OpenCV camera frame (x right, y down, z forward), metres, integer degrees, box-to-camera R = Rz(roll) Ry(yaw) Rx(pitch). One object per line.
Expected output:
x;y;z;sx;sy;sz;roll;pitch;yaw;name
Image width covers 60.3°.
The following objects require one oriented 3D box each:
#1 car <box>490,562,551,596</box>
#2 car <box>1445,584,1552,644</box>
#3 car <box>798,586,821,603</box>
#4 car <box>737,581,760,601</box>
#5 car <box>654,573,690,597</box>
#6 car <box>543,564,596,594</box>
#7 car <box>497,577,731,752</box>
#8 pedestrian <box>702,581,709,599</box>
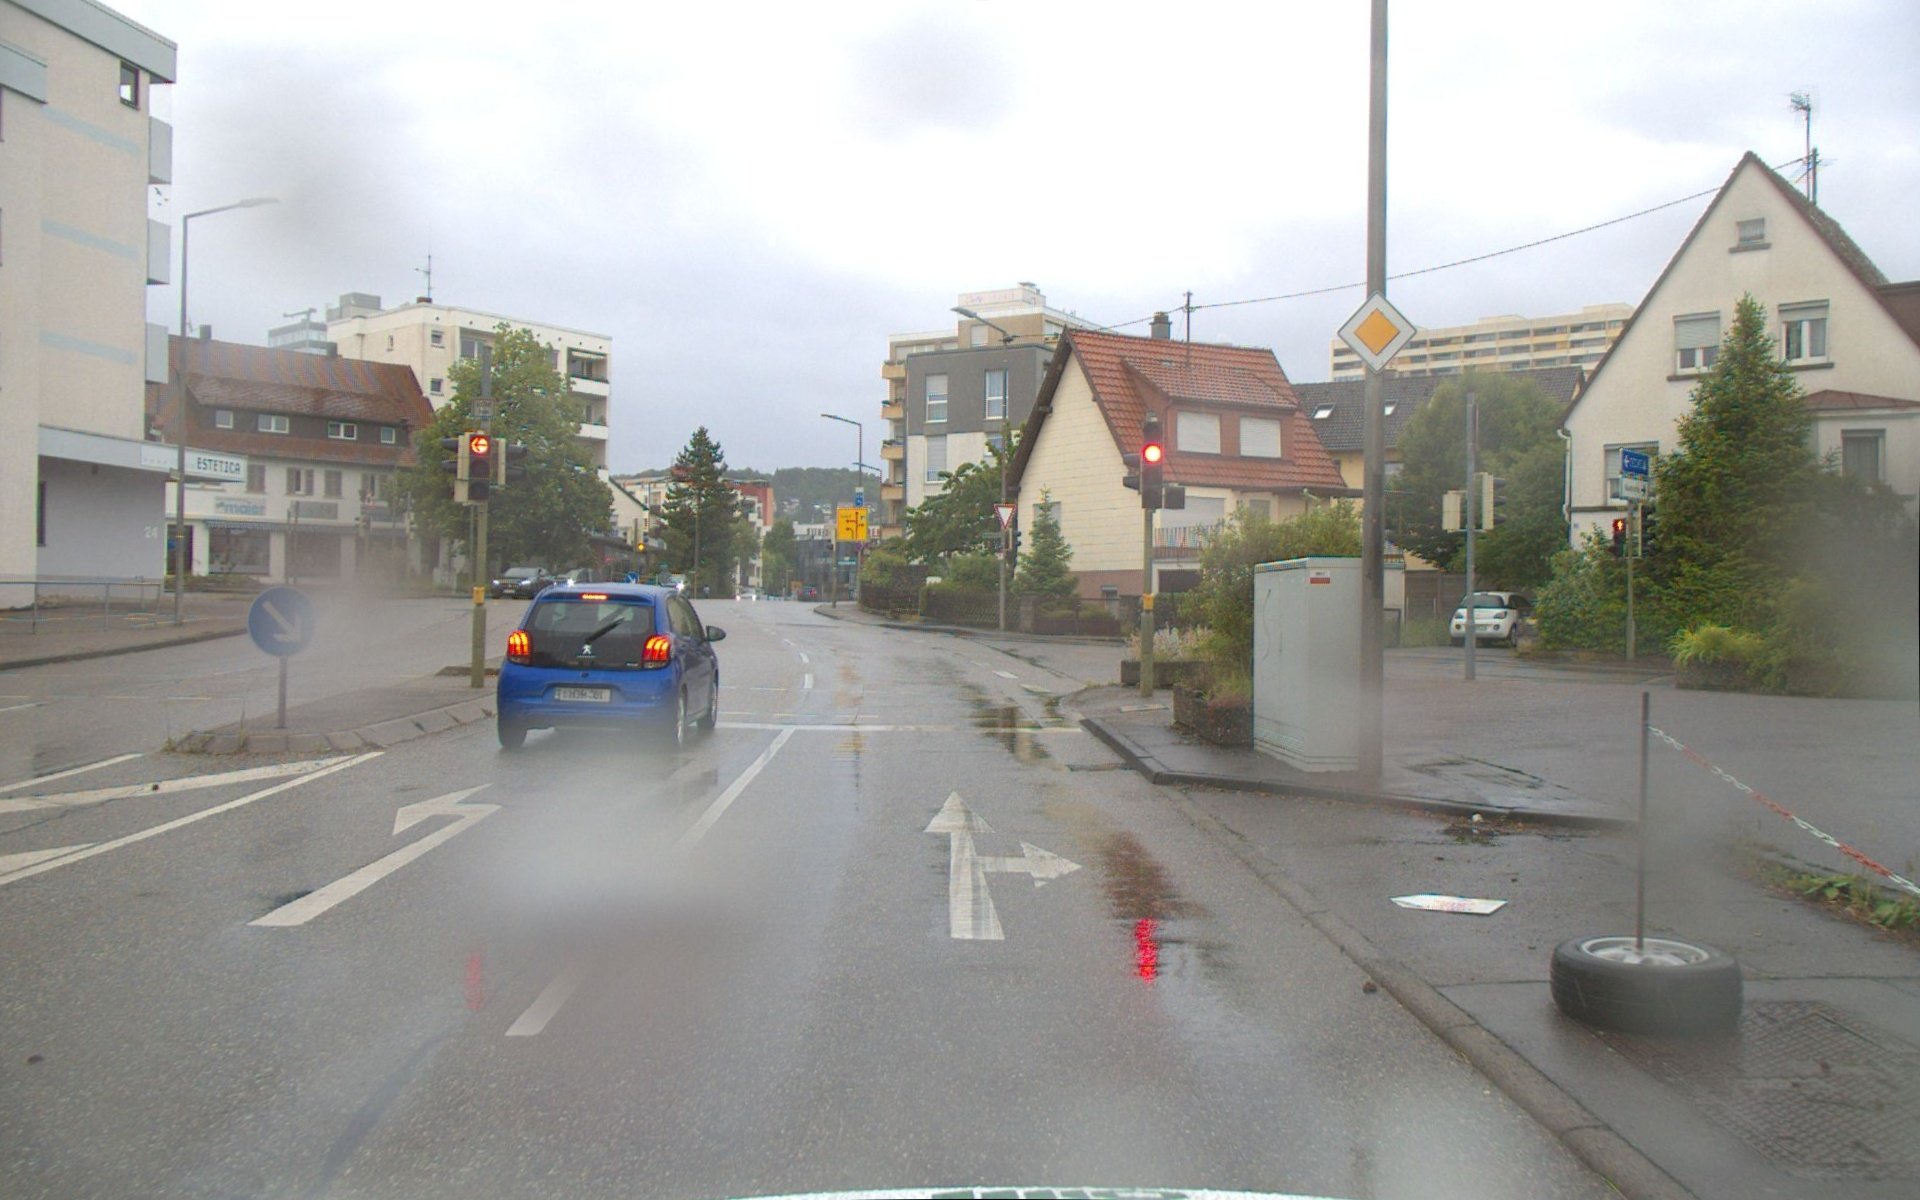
-19.350;-0.941;72.959;1.743;1.445;3.830;1;1;-2;car
14.819;0.351;45.400;1.710;1.541;3.986;1;1;35;car
-13.653;-0.509;150.152;1.776;1.512;4.189;0;1;-1;car
-20.195;-0.879;157.834;1.719;1.847;3.861;1;1;-1;car
-18.542;-0.971;106.544;1.743;1.445;3.830;1;1;-2;car
-18.897;-1.037;80.211;1.680;1.411;4.019;1;1;-2;car
-3.143;0.523;15.593;1.547;1.435;3.269;1;1;-1;car
-24.093;-0.934;156.410;0.489;1.687;0.432;1;1;39;pedestrian
